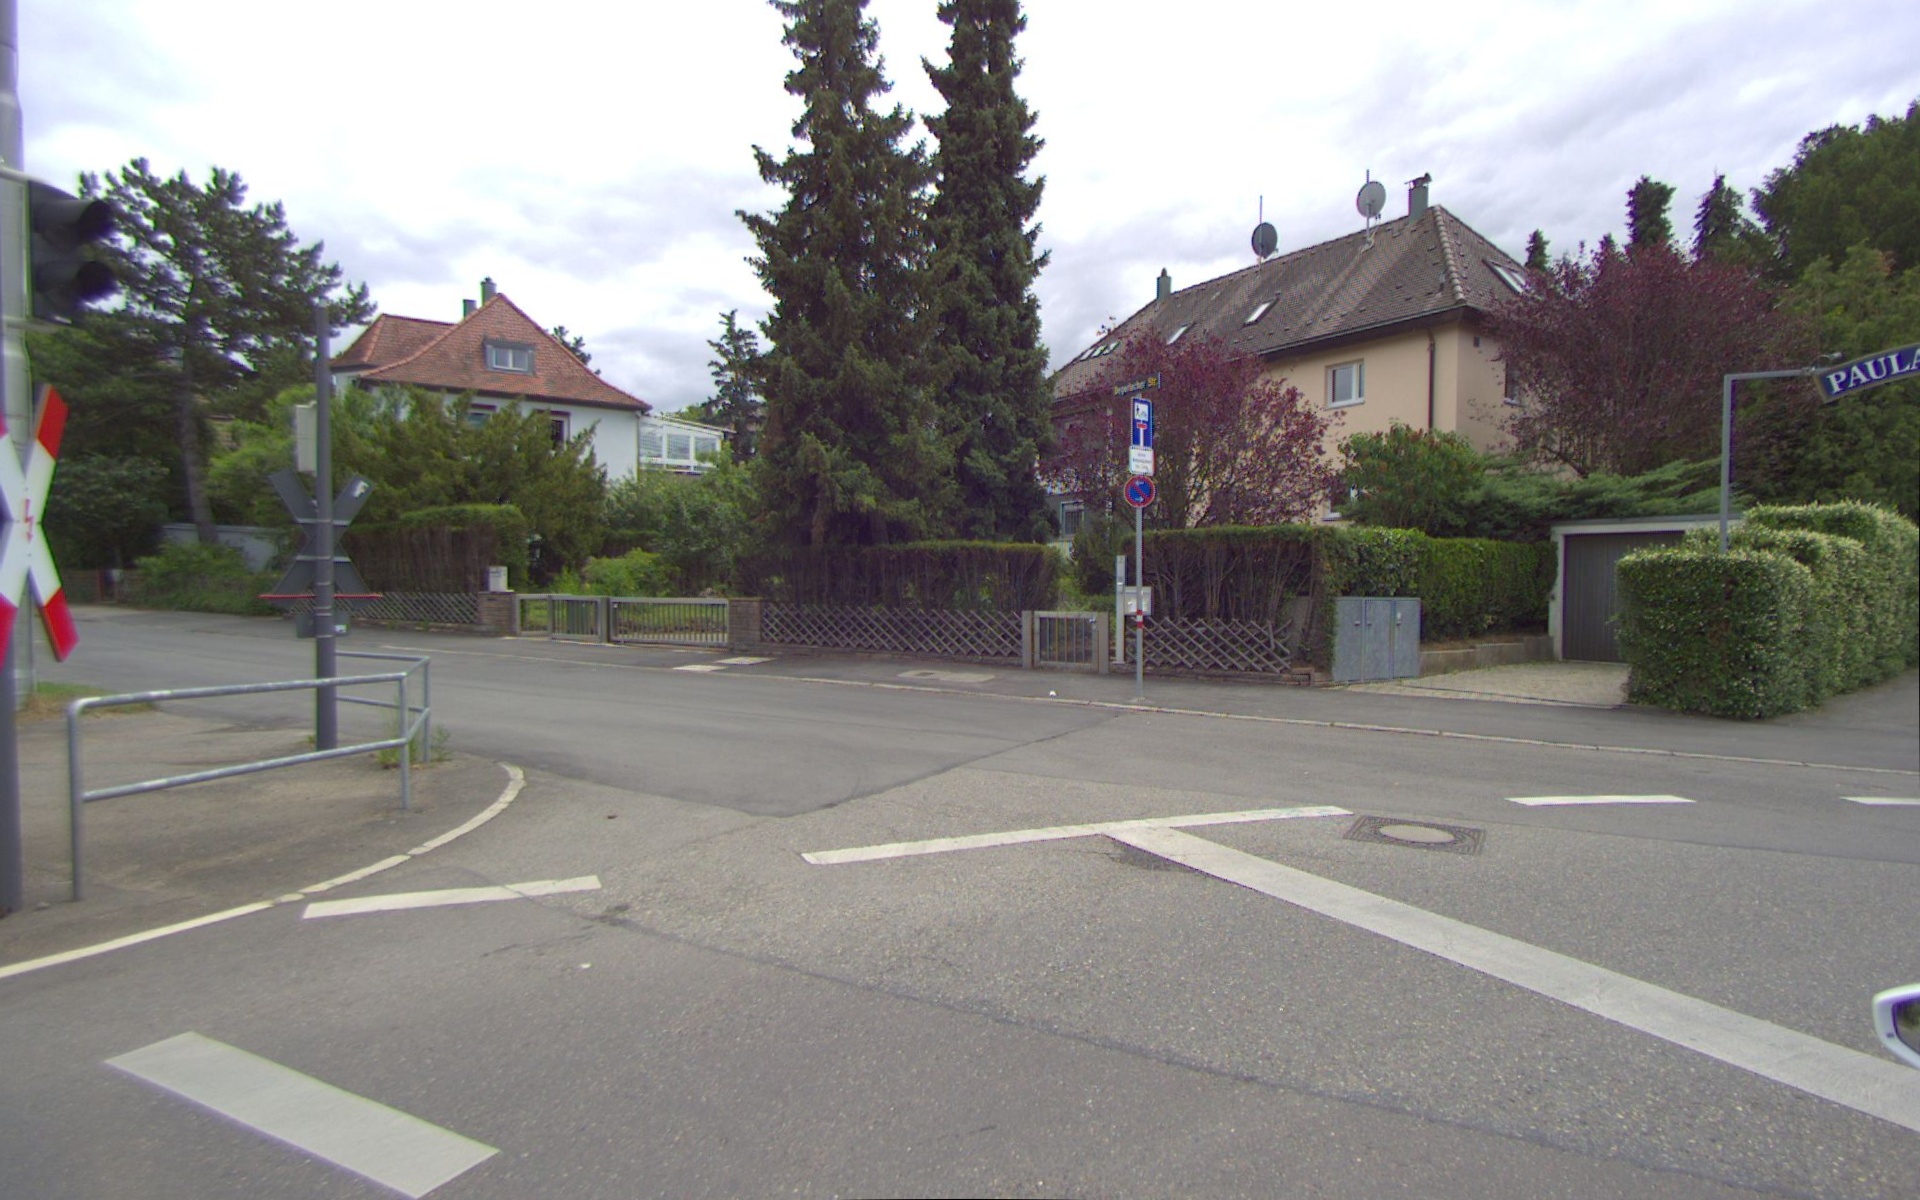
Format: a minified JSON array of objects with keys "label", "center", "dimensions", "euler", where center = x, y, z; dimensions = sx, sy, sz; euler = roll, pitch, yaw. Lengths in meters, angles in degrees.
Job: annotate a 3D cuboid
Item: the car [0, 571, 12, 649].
[{"label":"car","center":[-20.976,0.190,20.018],"dimensions":[4.044,1.522,1.819],"euler":[1,2,28]}]
